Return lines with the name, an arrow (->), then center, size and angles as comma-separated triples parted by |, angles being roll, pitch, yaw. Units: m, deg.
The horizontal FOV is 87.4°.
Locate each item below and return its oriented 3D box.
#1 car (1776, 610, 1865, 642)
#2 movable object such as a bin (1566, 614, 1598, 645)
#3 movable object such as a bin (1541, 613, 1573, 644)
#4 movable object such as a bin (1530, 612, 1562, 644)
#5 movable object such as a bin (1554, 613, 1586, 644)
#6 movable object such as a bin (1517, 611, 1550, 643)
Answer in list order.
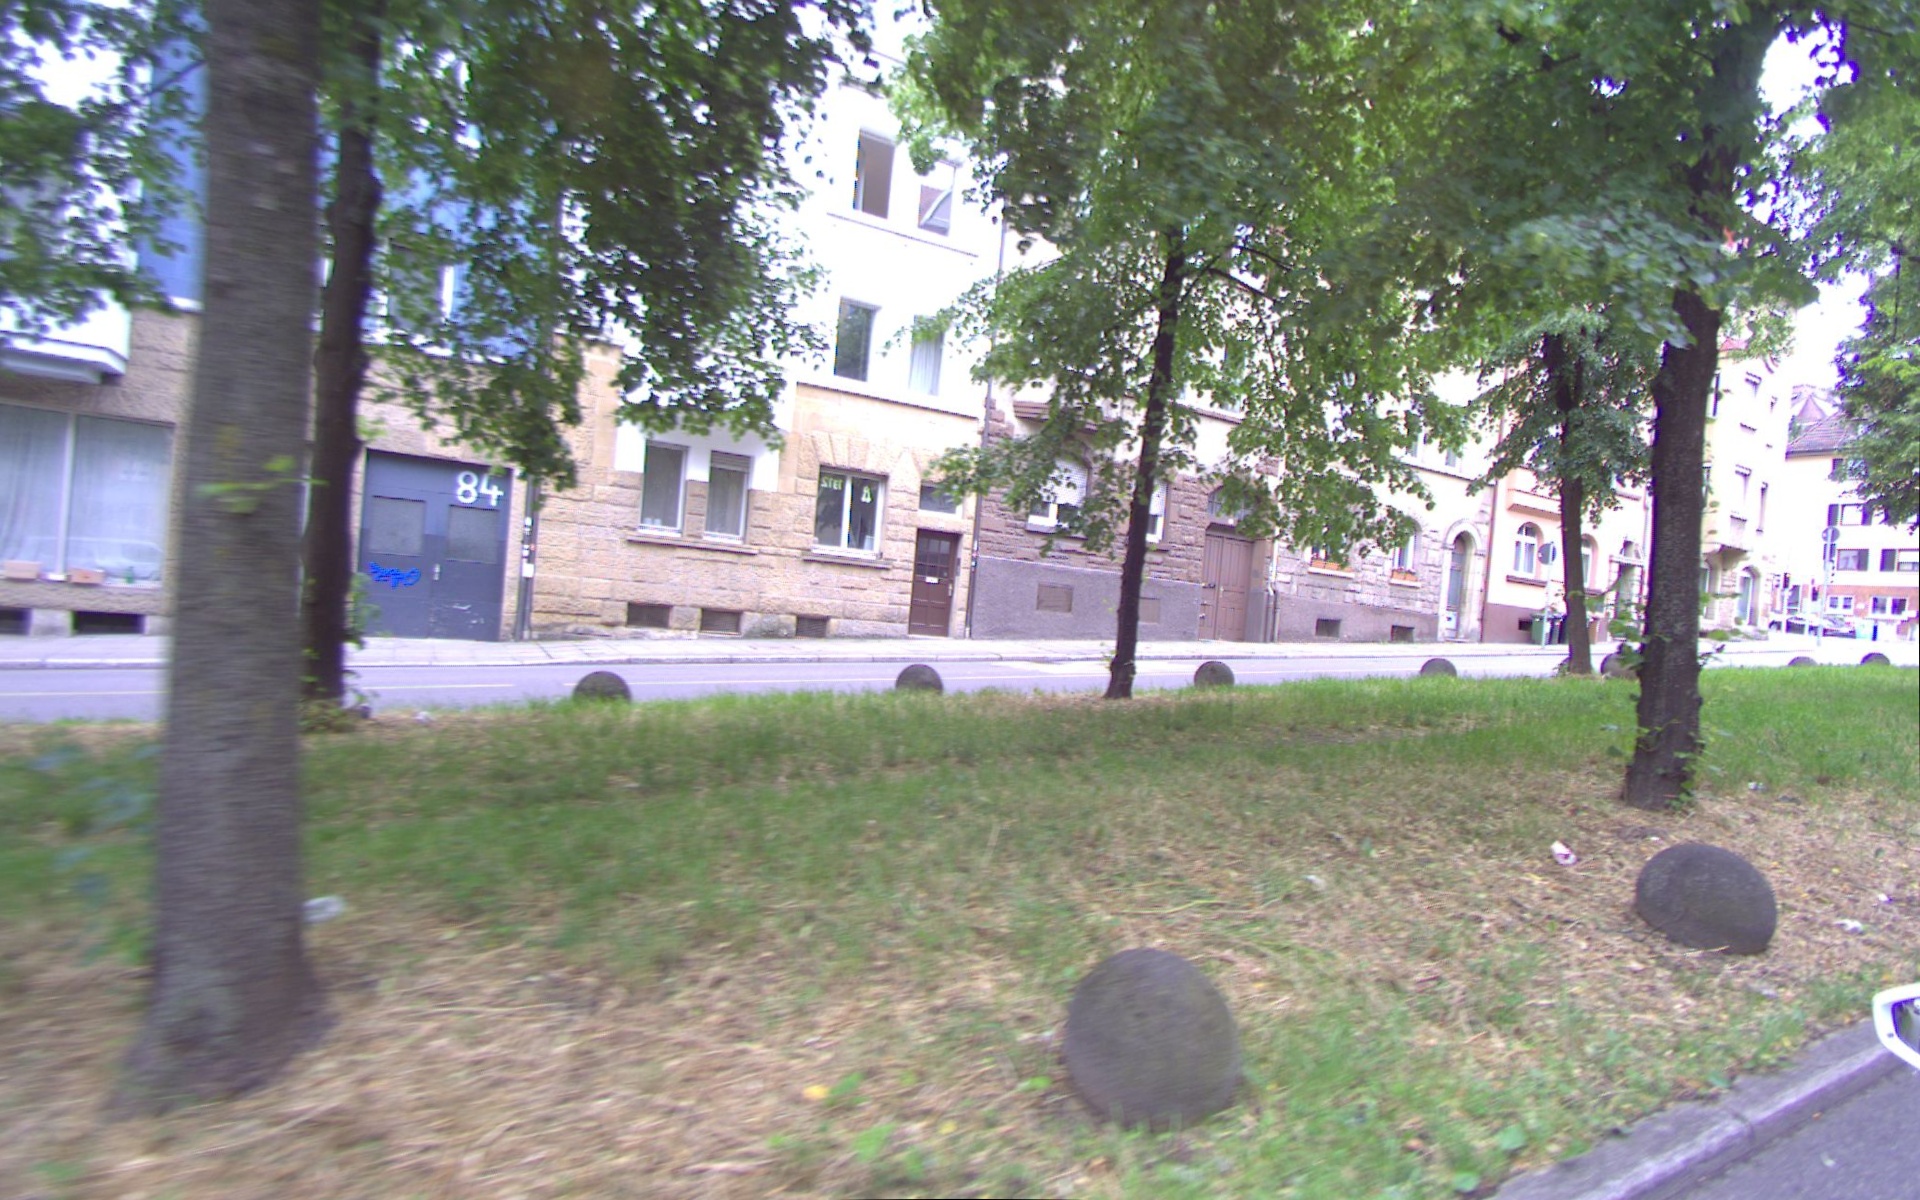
car -> 50.494, 1.500, 59.064 | 1.845, 1.687, 4.001 | 4, 0, 4
movable object such as a bin -> 19.694, 0.927, 31.809 | 0.595, 0.916, 0.605 | 2, 3, -34
movable object such as a bin -> 18.458, 0.878, 31.070 | 0.595, 0.916, 0.605 | 2, 3, -34
movable object such as a bin -> 17.909, 0.855, 30.716 | 0.595, 0.916, 0.605 | 2, 3, -34
movable object such as a bin -> 19.111, 0.901, 31.465 | 0.595, 0.916, 0.605 | 2, 3, -34
movable object such as a bin -> 17.358, 0.827, 30.394 | 0.595, 0.916, 0.605 | 2, 3, -34
